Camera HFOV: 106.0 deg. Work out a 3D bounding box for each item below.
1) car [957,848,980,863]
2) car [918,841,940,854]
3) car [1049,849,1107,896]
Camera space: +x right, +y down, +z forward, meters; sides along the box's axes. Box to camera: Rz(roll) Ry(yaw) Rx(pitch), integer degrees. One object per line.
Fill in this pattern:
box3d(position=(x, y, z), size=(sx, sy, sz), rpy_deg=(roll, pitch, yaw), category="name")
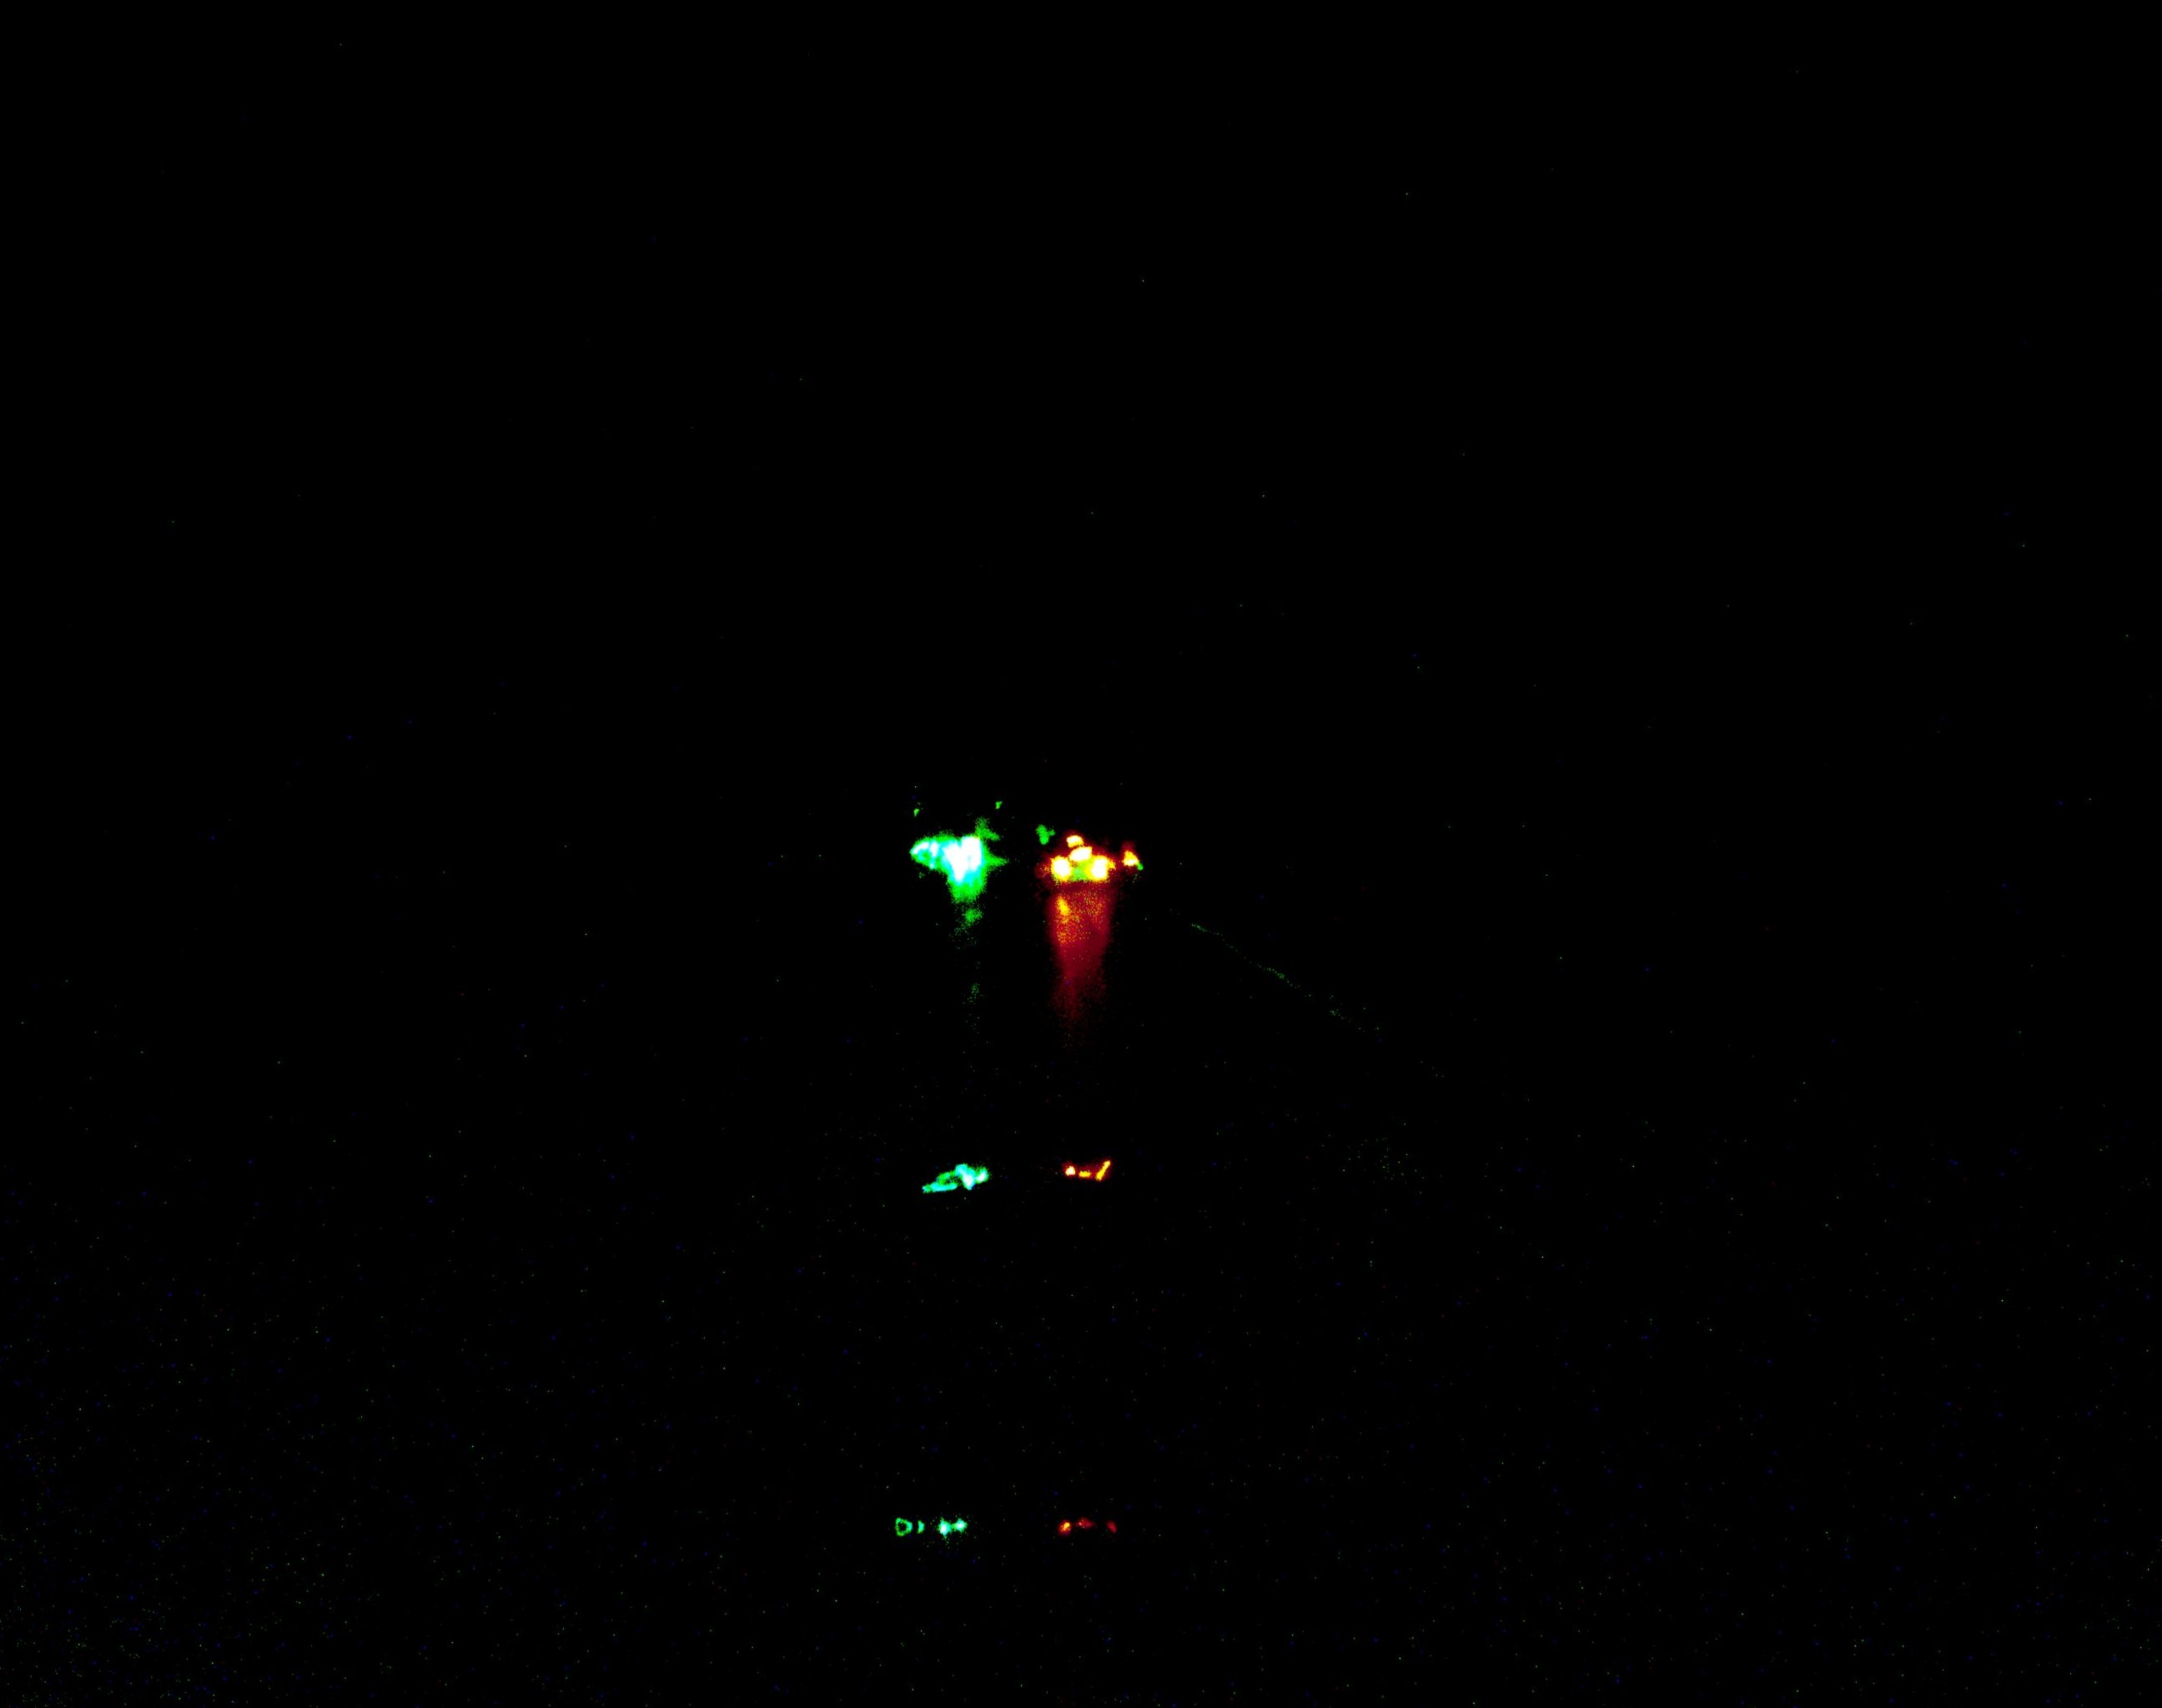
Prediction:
box3d(position=(-13.226, 0.189, 95.426), size=(1.935, 1.584, 4.957), rpy_deg=(-3, 1, -16), category="car")
box3d(position=(-23.380, -0.968, 125.066), size=(2.003, 1.708, 4.944), rpy_deg=(-3, 1, -25), category="car")
box3d(position=(-0.201, 0.667, 31.979), size=(1.990, 1.628, 4.978), rpy_deg=(-1, 1, -4), category="car")
